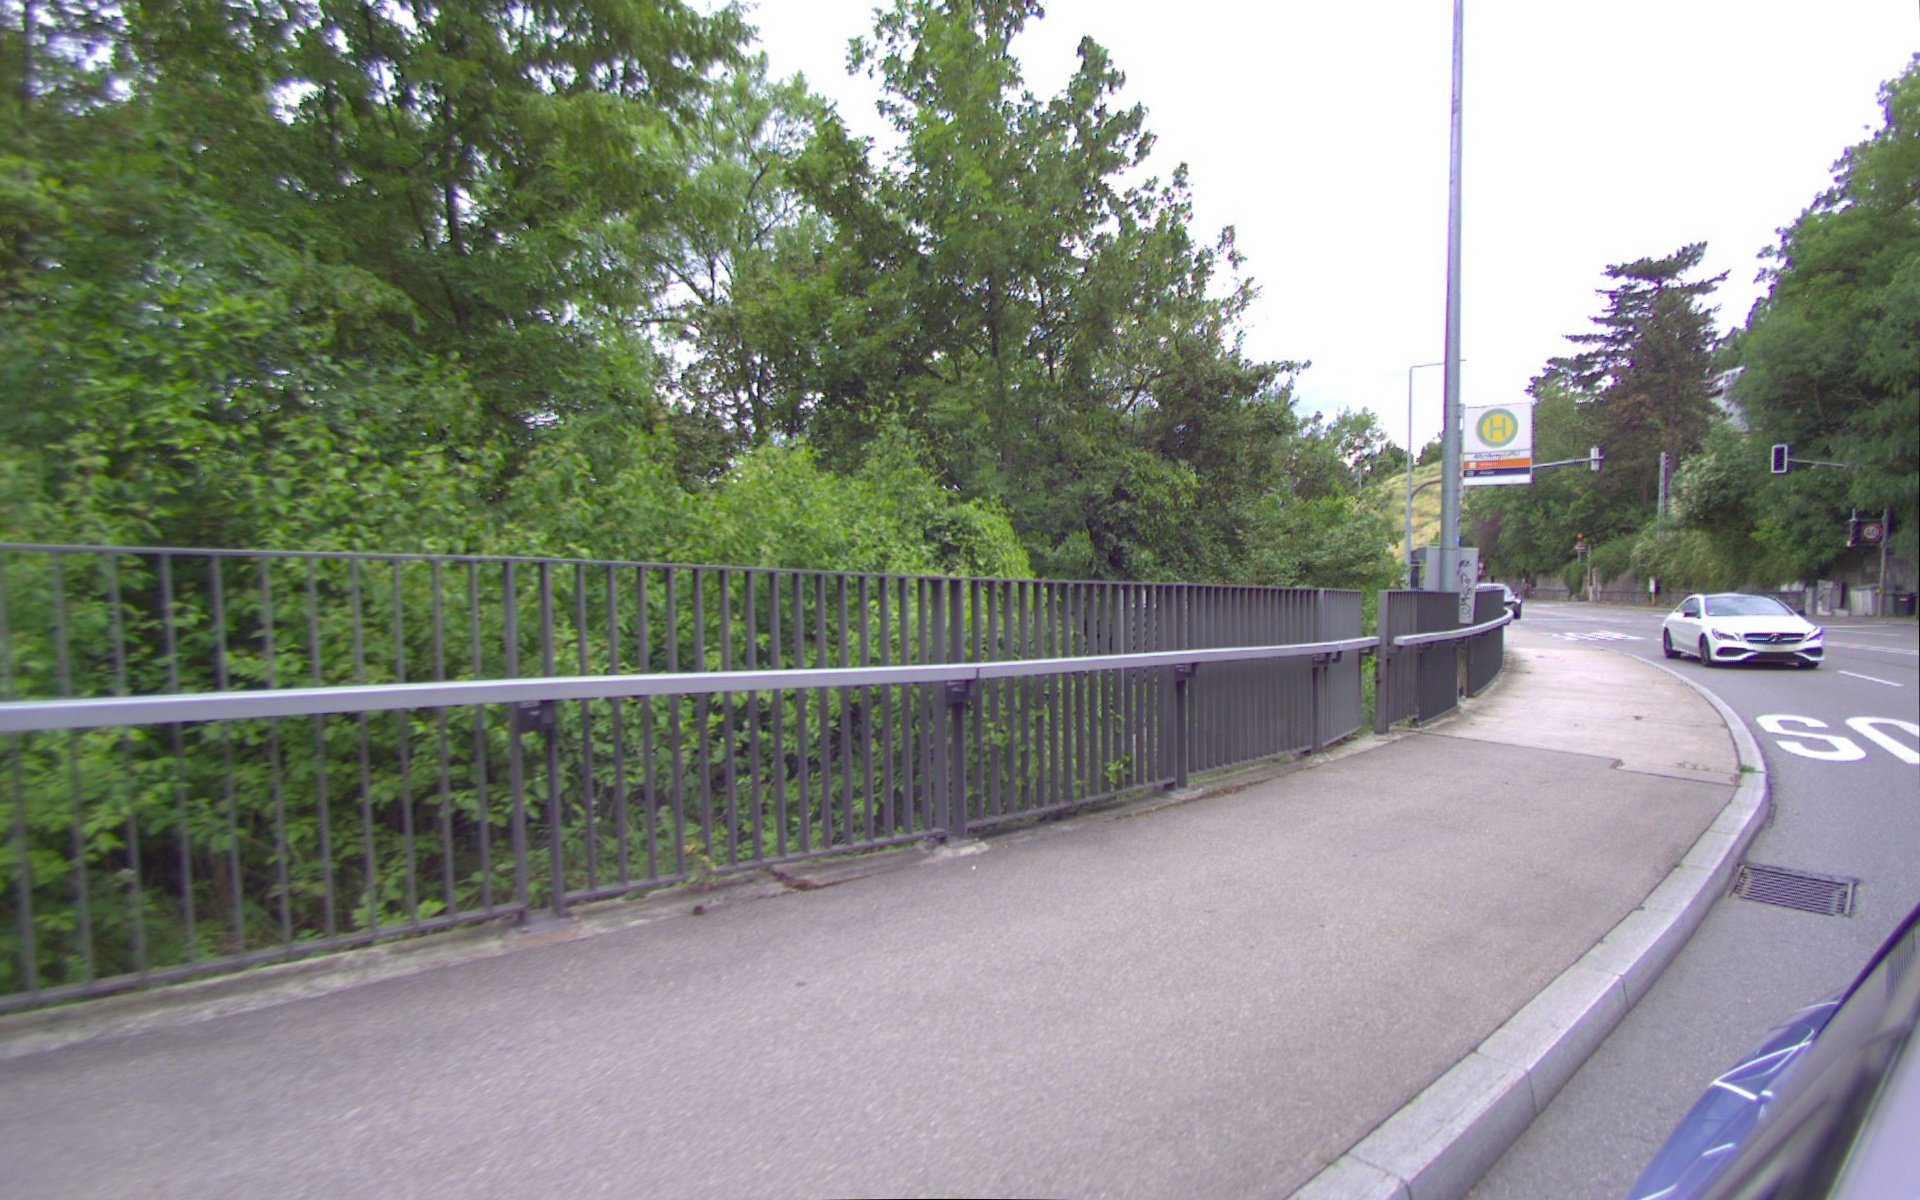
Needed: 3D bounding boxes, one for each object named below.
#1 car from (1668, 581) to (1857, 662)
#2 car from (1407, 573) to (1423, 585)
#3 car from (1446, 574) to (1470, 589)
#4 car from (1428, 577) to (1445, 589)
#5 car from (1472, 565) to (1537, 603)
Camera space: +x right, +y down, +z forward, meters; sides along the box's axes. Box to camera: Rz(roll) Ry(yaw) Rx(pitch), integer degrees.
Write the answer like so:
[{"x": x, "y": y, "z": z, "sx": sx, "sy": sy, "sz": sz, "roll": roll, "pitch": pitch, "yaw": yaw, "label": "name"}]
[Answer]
[{"x": 15.919, "y": 0.412, "z": 20.358, "sx": 1.883, "sy": 1.445, "sz": 4.231, "roll": -2, "pitch": -1, "yaw": 23, "label": "car"}, {"x": 76.985, "y": -3.567, "z": 171.282, "sx": 1.903, "sy": 2.030, "sz": 5.322, "roll": -1, "pitch": 0, "yaw": 19, "label": "car"}, {"x": 55.640, "y": -2.049, "z": 113.100, "sx": 1.764, "sy": 1.501, "sz": 4.185, "roll": -3, "pitch": -1, "yaw": 19, "label": "car"}, {"x": 66.286, "y": -2.355, "z": 140.843, "sx": 1.660, "sy": 1.460, "sz": 4.206, "roll": -3, "pitch": -1, "yaw": 19, "label": "car"}, {"x": 25.176, "y": -0.755, "z": 46.930, "sx": 1.975, "sy": 1.609, "sz": 3.975, "roll": -3, "pitch": 0, "yaw": 20, "label": "car"}]
